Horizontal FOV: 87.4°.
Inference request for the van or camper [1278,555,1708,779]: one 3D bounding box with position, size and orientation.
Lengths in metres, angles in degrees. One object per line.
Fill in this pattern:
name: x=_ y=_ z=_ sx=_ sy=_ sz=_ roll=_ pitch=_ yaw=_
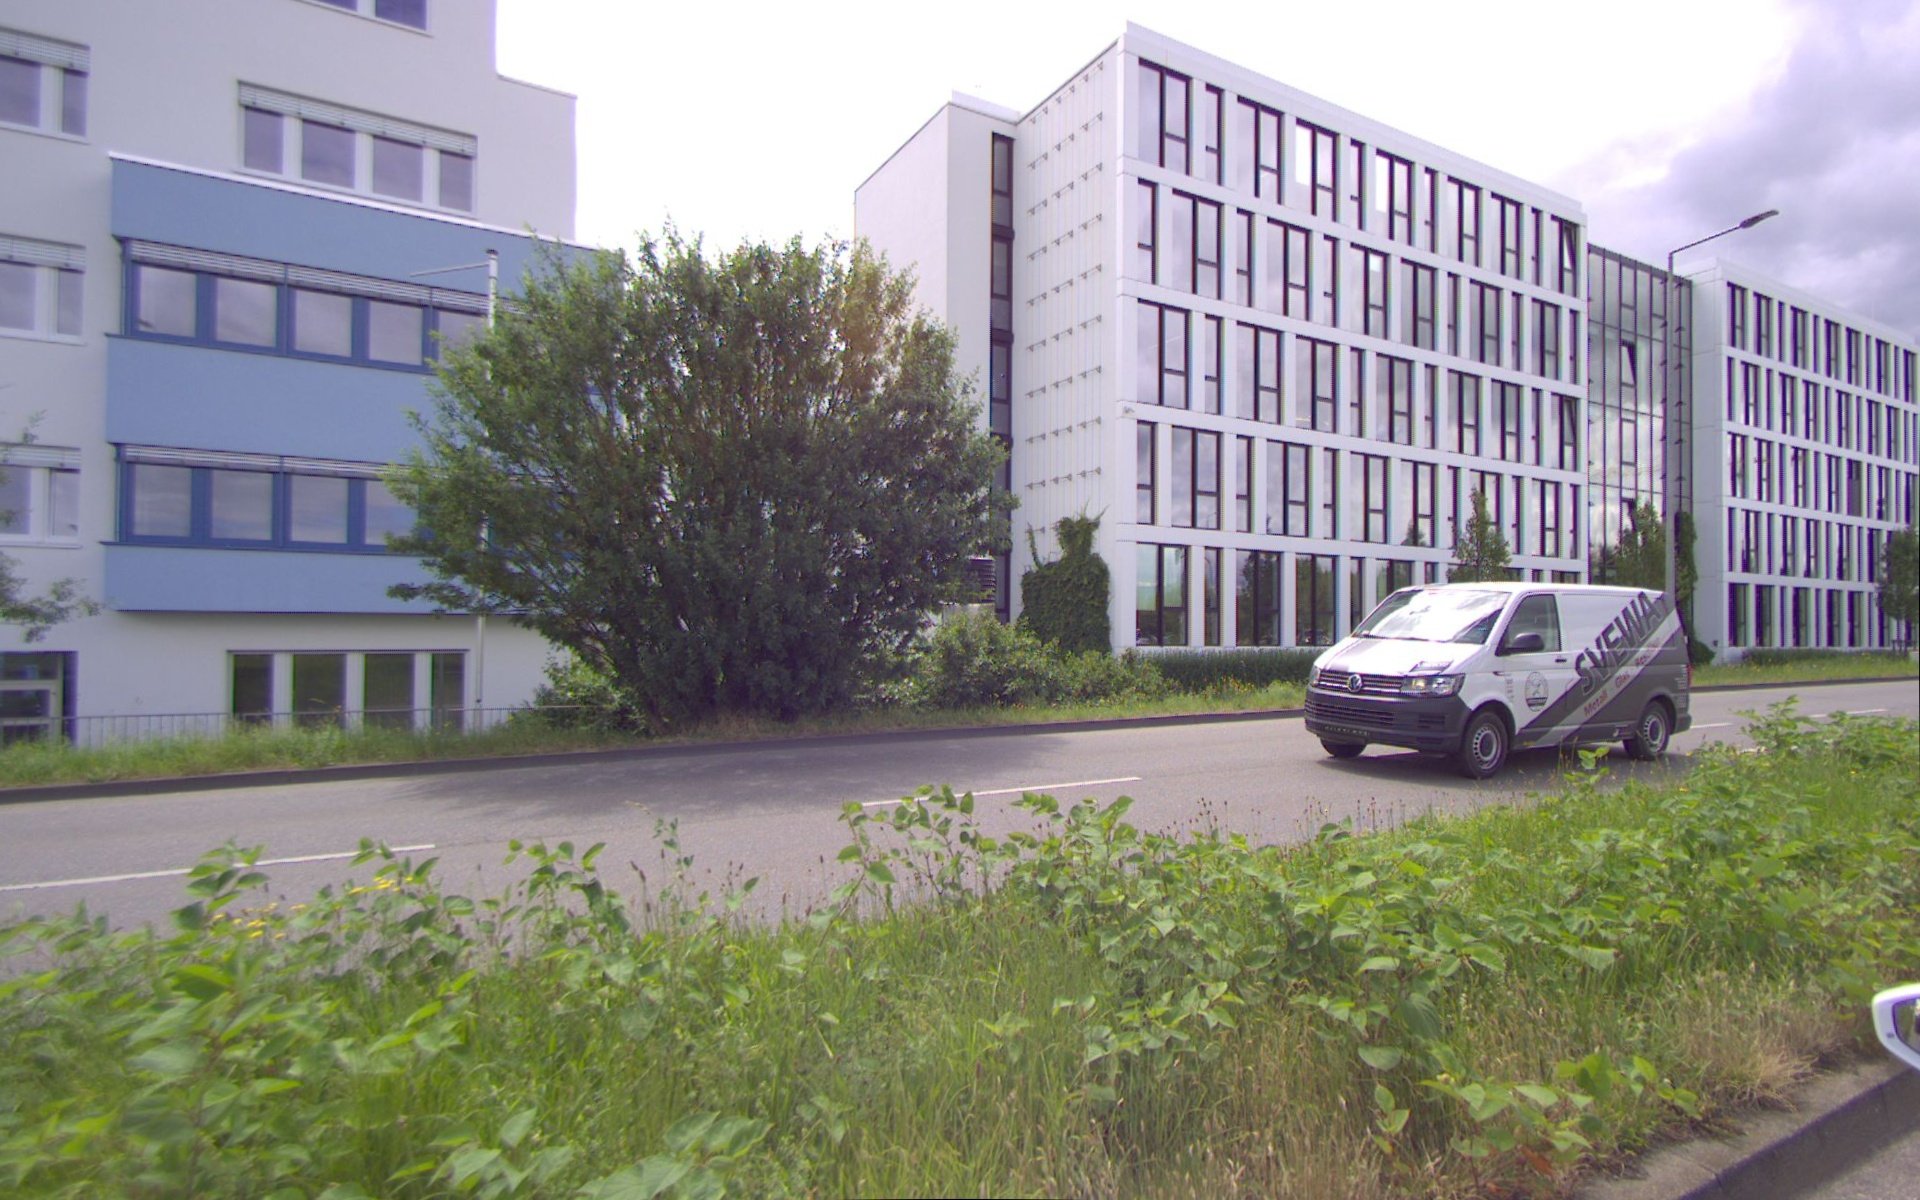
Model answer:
van or camper: x=5.999 y=0.678 z=11.194 sx=4.757 sy=2.040 sz=1.985 roll=1 pitch=-1 yaw=-29
